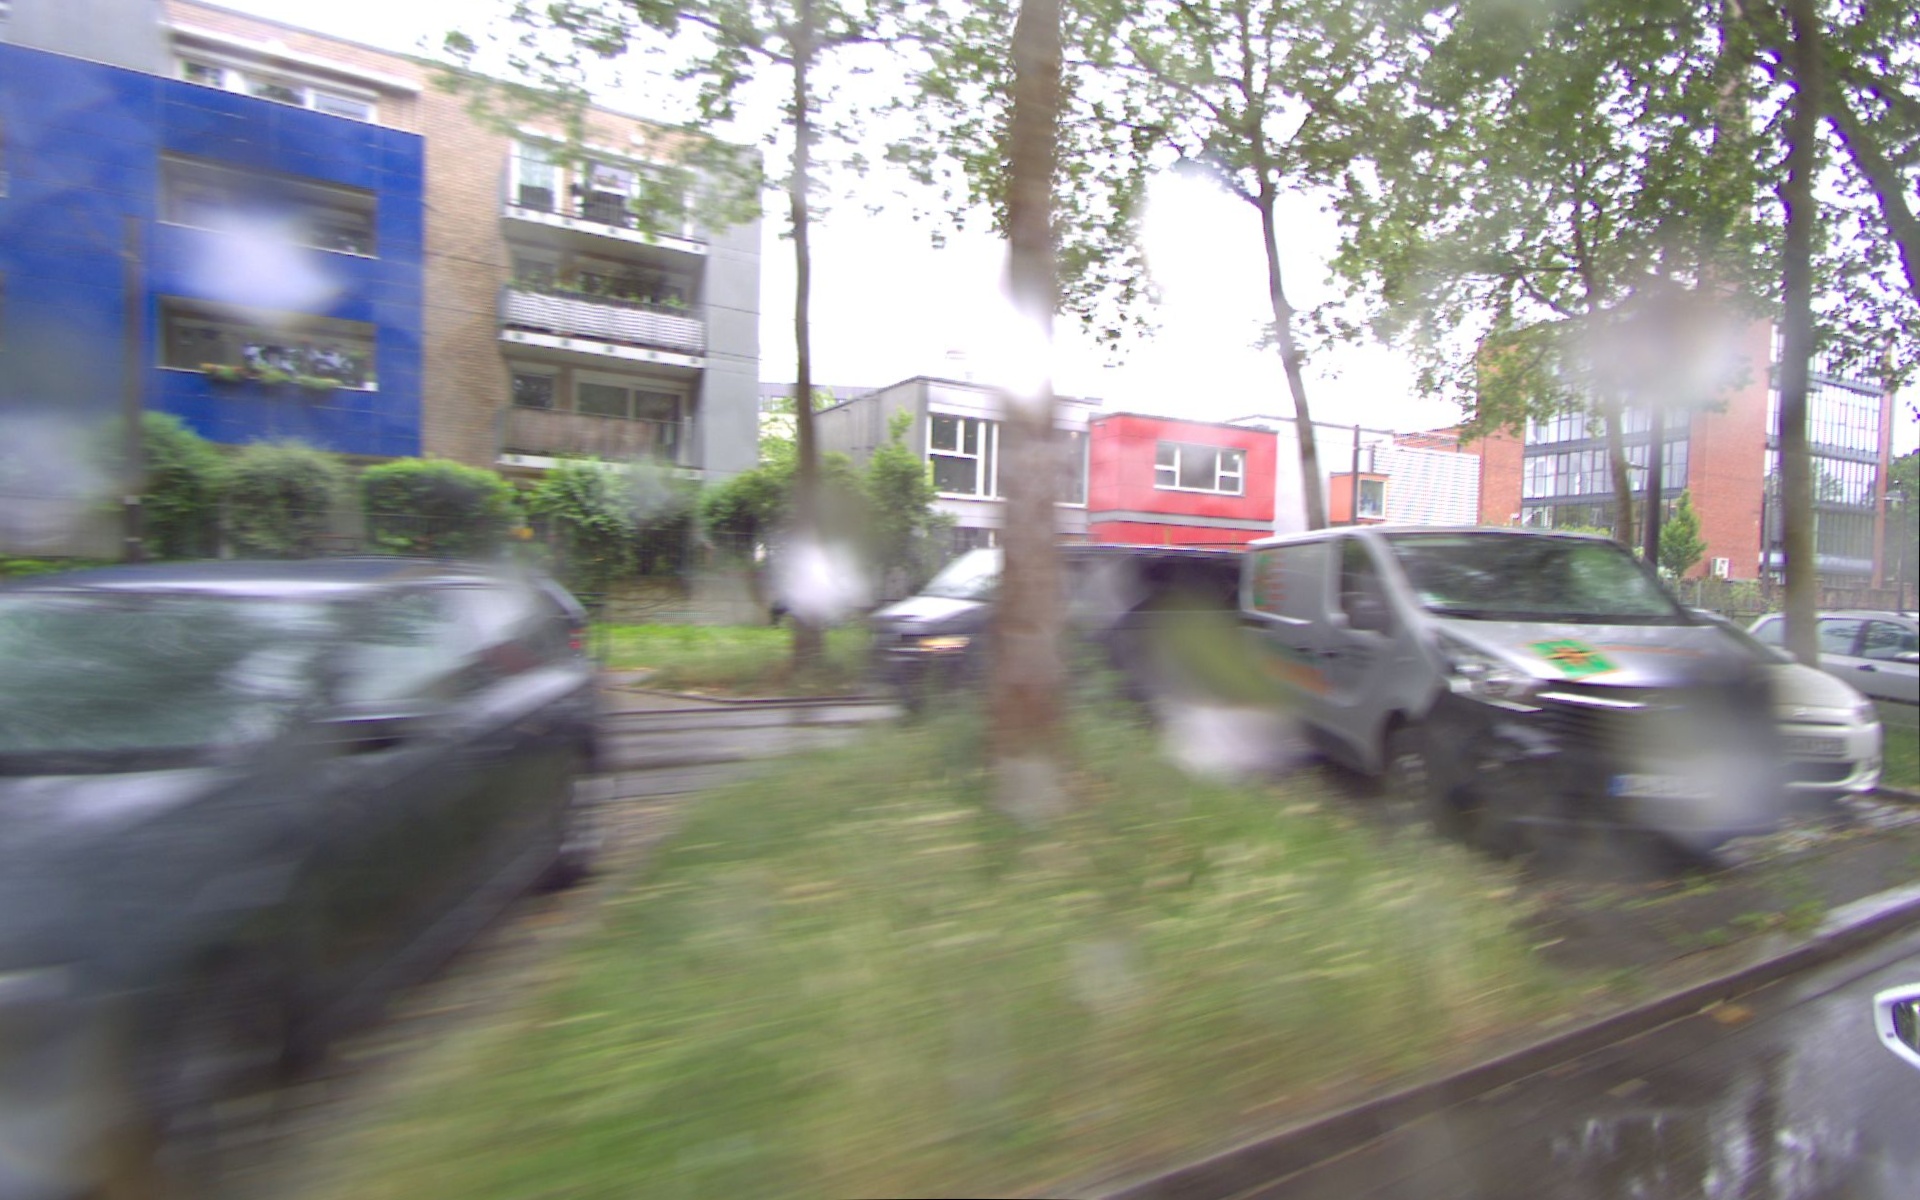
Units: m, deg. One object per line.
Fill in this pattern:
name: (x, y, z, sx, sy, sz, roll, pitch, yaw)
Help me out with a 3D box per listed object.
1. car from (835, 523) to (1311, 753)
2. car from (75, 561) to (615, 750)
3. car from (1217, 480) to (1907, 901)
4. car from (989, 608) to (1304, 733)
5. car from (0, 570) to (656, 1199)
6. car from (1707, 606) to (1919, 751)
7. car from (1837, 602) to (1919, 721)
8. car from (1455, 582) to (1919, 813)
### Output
car: (1.325, 0.329, 11.024, 4.970, 2.041, 1.983, 1, 2, -31)
car: (-5.747, 0.428, 10.008, 4.181, 1.540, 1.987, 0, 1, -26)
car: (3.544, 0.442, 7.394, 2.061, 2.004, 5.132, 0, 0, 1)
car: (2.695, 0.880, 14.293, 4.225, 1.439, 1.982, -1, 1, -33)
car: (-2.338, 0.647, 3.074, 1.714, 1.456, 4.313, 0, 2, -3)
car: (10.880, 0.830, 11.196, 1.740, 1.502, 4.561, 0, 0, 0)
car: (13.271, 0.797, 12.355, 1.688, 1.541, 3.818, 0, 0, 1)
car: (5.931, 0.647, 8.486, 1.688, 1.502, 3.787, 0, 0, 1)
